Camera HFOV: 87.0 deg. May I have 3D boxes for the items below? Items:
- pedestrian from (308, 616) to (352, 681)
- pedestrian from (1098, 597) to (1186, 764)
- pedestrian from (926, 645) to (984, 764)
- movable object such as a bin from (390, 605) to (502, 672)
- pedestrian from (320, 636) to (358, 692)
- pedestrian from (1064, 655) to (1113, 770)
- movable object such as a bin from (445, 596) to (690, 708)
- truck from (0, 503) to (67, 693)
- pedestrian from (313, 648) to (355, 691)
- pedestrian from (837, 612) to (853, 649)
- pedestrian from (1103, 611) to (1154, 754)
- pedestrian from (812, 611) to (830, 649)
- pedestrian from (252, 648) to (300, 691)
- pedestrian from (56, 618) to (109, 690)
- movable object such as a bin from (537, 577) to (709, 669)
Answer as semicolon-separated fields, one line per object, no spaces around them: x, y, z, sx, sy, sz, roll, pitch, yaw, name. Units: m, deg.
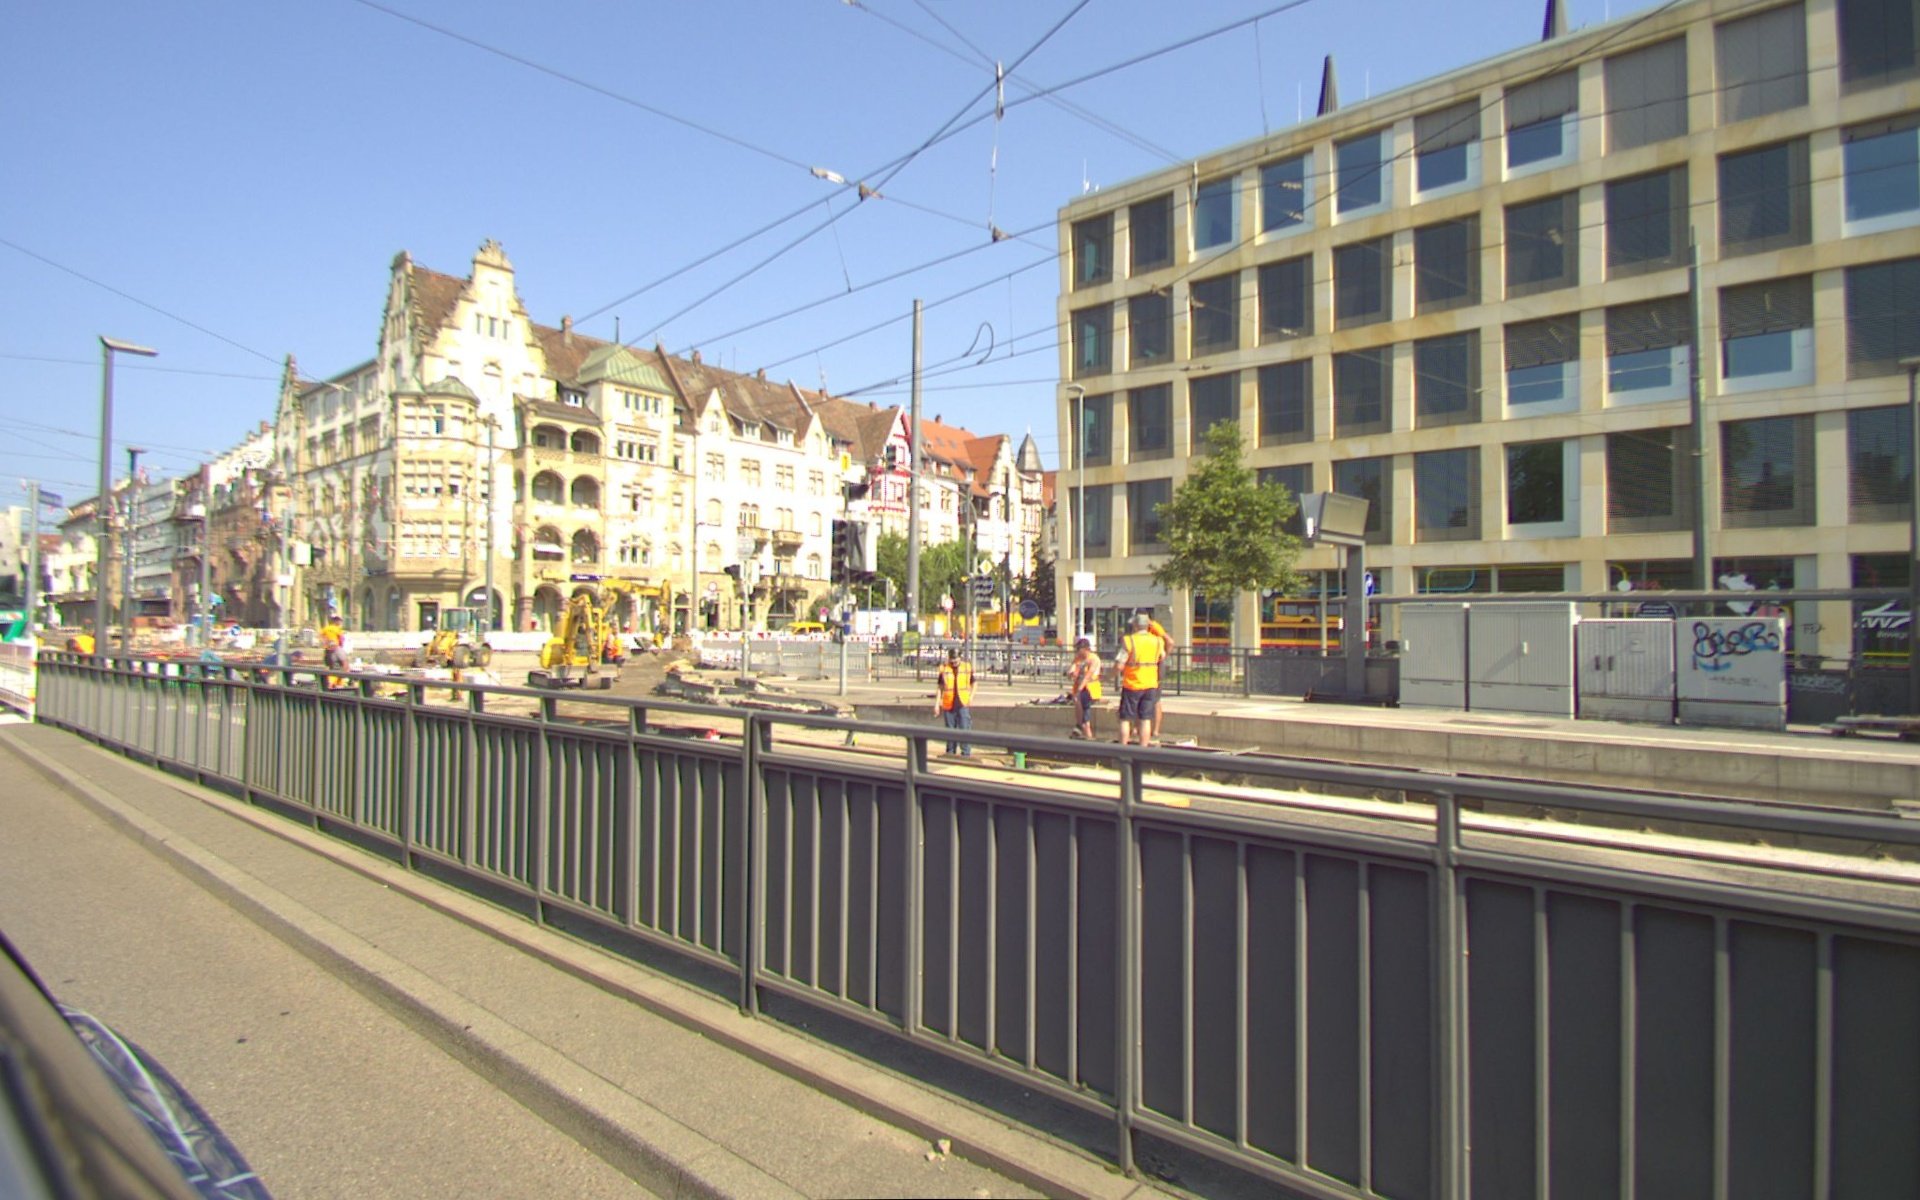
-15.606;1.191;25.066;0.805;1.578;0.558;2;-3;-40;pedestrian
2.229;0.967;12.459;0.713;1.966;0.790;2;-3;-34;pedestrian
-0.084;1.498;14.773;0.657;1.676;0.774;1;-3;-16;pedestrian
-23.377;1.736;46.278;2.417;2.856;4.811;1;-2;3;movable object such as a bin
-17.614;1.811;28.728;0.553;1.578;0.696;-1;-3;24;pedestrian
1.829;1.577;14.355;0.620;1.566;0.638;0;-3;15;pedestrian
-12.315;1.400;31.310;8.473;2.980;3.576;0;0;41;movable object such as a bin
-23.690;0.045;22.776;8.381;3.942;2.774;-1;-1;29;truck
-14.800;1.633;23.908;0.933;0.996;0.506;-2;-3;36;pedestrian
-6.368;1.676;55.967;0.658;2.029;0.831;1;-2;-26;pedestrian
2.214;1.074;13.365;0.633;1.830;0.624;0;-3;9;pedestrian
-7.705;1.633;56.013;0.664;2.080;0.894;0;-2;17;pedestrian
-15.252;1.536;22.580;0.808;0.933;0.514;2;-3;-29;pedestrian
-19.692;1.202;22.711;0.691;1.578;0.752;-2;-3;40;pedestrian
-17.522;1.226;52.638;7.260;4.380;4.981;2;-1;-36;movable object such as a bin
